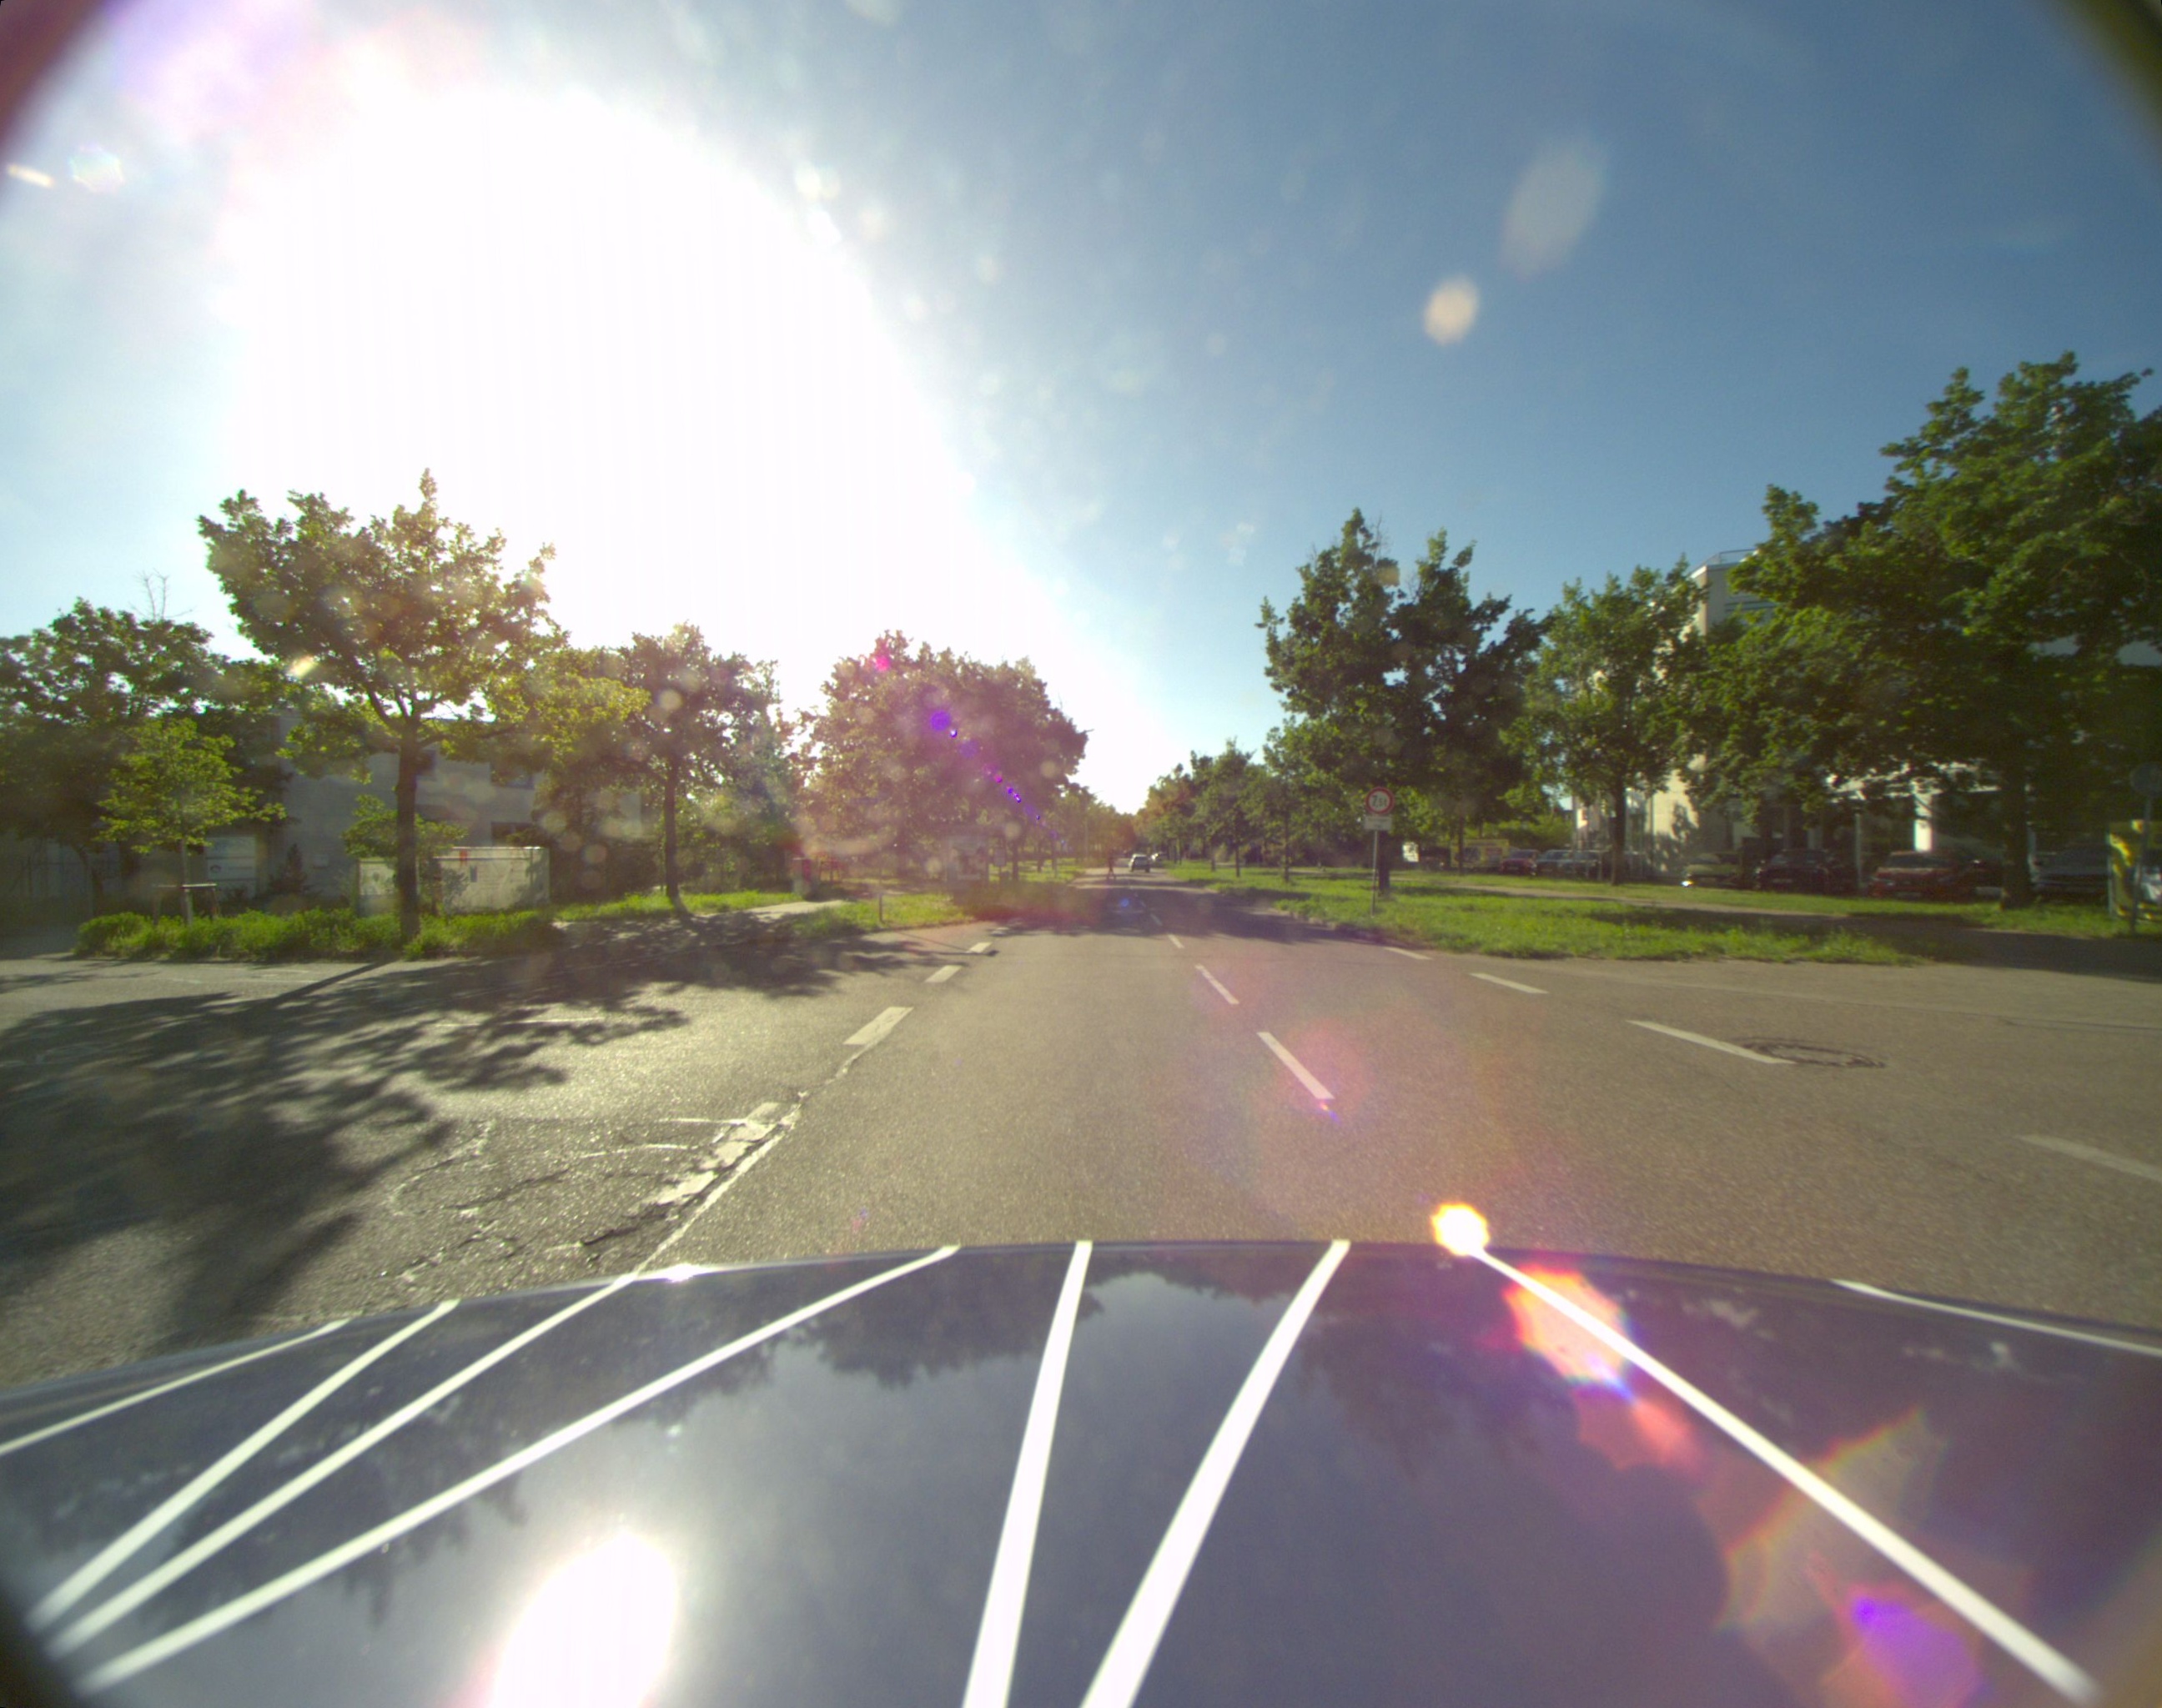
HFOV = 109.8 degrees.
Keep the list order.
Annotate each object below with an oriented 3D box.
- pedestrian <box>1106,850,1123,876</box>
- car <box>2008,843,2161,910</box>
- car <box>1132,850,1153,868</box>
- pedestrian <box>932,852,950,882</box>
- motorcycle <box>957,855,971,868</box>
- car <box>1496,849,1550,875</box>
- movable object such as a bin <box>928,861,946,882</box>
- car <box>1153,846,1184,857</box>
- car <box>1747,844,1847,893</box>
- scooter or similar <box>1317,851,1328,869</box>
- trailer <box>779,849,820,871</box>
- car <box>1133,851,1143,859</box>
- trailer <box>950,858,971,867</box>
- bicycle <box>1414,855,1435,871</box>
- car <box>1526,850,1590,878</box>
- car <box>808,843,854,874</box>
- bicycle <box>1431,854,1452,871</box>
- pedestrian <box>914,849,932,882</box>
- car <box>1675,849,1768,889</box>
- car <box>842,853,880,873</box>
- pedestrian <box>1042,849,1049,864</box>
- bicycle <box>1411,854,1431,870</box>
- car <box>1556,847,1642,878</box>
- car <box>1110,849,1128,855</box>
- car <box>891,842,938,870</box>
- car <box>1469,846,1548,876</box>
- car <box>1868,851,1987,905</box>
[{"bbox_3d":[2.174,0.577,49.248,1.021,1.642,1.100,0,1,6],"label":"pedestrian"},{"bbox_3d":[25.871,0.503,19.455,4.176,1.553,1.995,-1,1,-29],"label":"car"},{"bbox_3d":[5.283,0.429,65.752,1.748,1.456,4.428,0,0,4],"label":"car"},{"bbox_3d":[-7.497,0.667,40.714,0.727,1.594,0.867,0,1,2],"label":"pedestrian"},{"bbox_3d":[-13.319,0.820,86.481,0.663,1.225,2.407,0,5,14],"label":"motorcycle"},{"bbox_3d":[26.232,0.458,45.069,4.008,1.440,1.796,-1,1,-45],"label":"car"},{"bbox_3d":[-7.551,0.930,39.844,0.727,1.075,0.867,1,1,2],"label":"movable object such as a bin"},{"bbox_3d":[13.913,-0.432,120.382,4.637,1.549,2.191,-2,0,1],"label":"car"},{"bbox_3d":[24.280,0.427,25.730,4.178,1.529,1.891,-1,1,-39],"label":"car"},{"bbox_3d":[17.374,0.406,54.740,0.396,1.272,1.441,0,1,4],"label":"scooter or similar"},{"bbox_3d":[-29.241,0.594,79.089,2.192,2.294,3.793,0,1,15],"label":"trailer"},{"bbox_3d":[11.268,0.102,150.353,1.809,1.528,4.496,1,0,2],"label":"car"},{"bbox_3d":[-14.023,1.005,88.473,1.581,0.864,2.055,0,4,15],"label":"trailer"},{"bbox_3d":[23.774,0.598,52.572,0.640,1.081,1.891,0,0,2],"label":"bicycle"},{"bbox_3d":[26.037,0.494,41.430,4.008,1.440,1.796,-1,1,-40],"label":"car"},{"bbox_3d":[-21.512,0.374,65.660,2.165,2.628,4.851,0,0,3],"label":"car"},{"bbox_3d":[24.758,0.581,52.221,0.640,1.081,1.891,0,0,2],"label":"bicycle"},{"bbox_3d":[-8.316,0.591,40.037,0.727,1.745,0.867,0,1,2],"label":"pedestrian"},{"bbox_3d":[24.634,0.535,29.189,3.961,1.393,1.994,-1,1,-39],"label":"car"},{"bbox_3d":[-18.877,0.748,65.259,2.010,1.654,3.597,0,0,3],"label":"car"},{"bbox_3d":[-4.136,0.292,89.556,0.727,1.802,0.867,0,1,2],"label":"pedestrian"},{"bbox_3d":[24.150,0.574,53.964,0.640,1.081,1.891,0,0,2],"label":"bicycle"},{"bbox_3d":[25.867,0.418,37.960,4.005,1.502,1.797,-1,-1,-26],"label":"car"},{"bbox_3d":[10.001,-0.447,198.058,4.509,1.471,1.942,0,1,7],"label":"car"},{"bbox_3d":[-16.625,0.282,76.355,2.087,2.550,5.981,-2,-3,15],"label":"car"},{"bbox_3d":[27.841,0.447,49.639,4.023,1.773,2.027,-2,0,12],"label":"car"},{"bbox_3d":[25.614,0.657,22.962,4.178,1.482,1.995,-1,1,-36],"label":"car"}]
